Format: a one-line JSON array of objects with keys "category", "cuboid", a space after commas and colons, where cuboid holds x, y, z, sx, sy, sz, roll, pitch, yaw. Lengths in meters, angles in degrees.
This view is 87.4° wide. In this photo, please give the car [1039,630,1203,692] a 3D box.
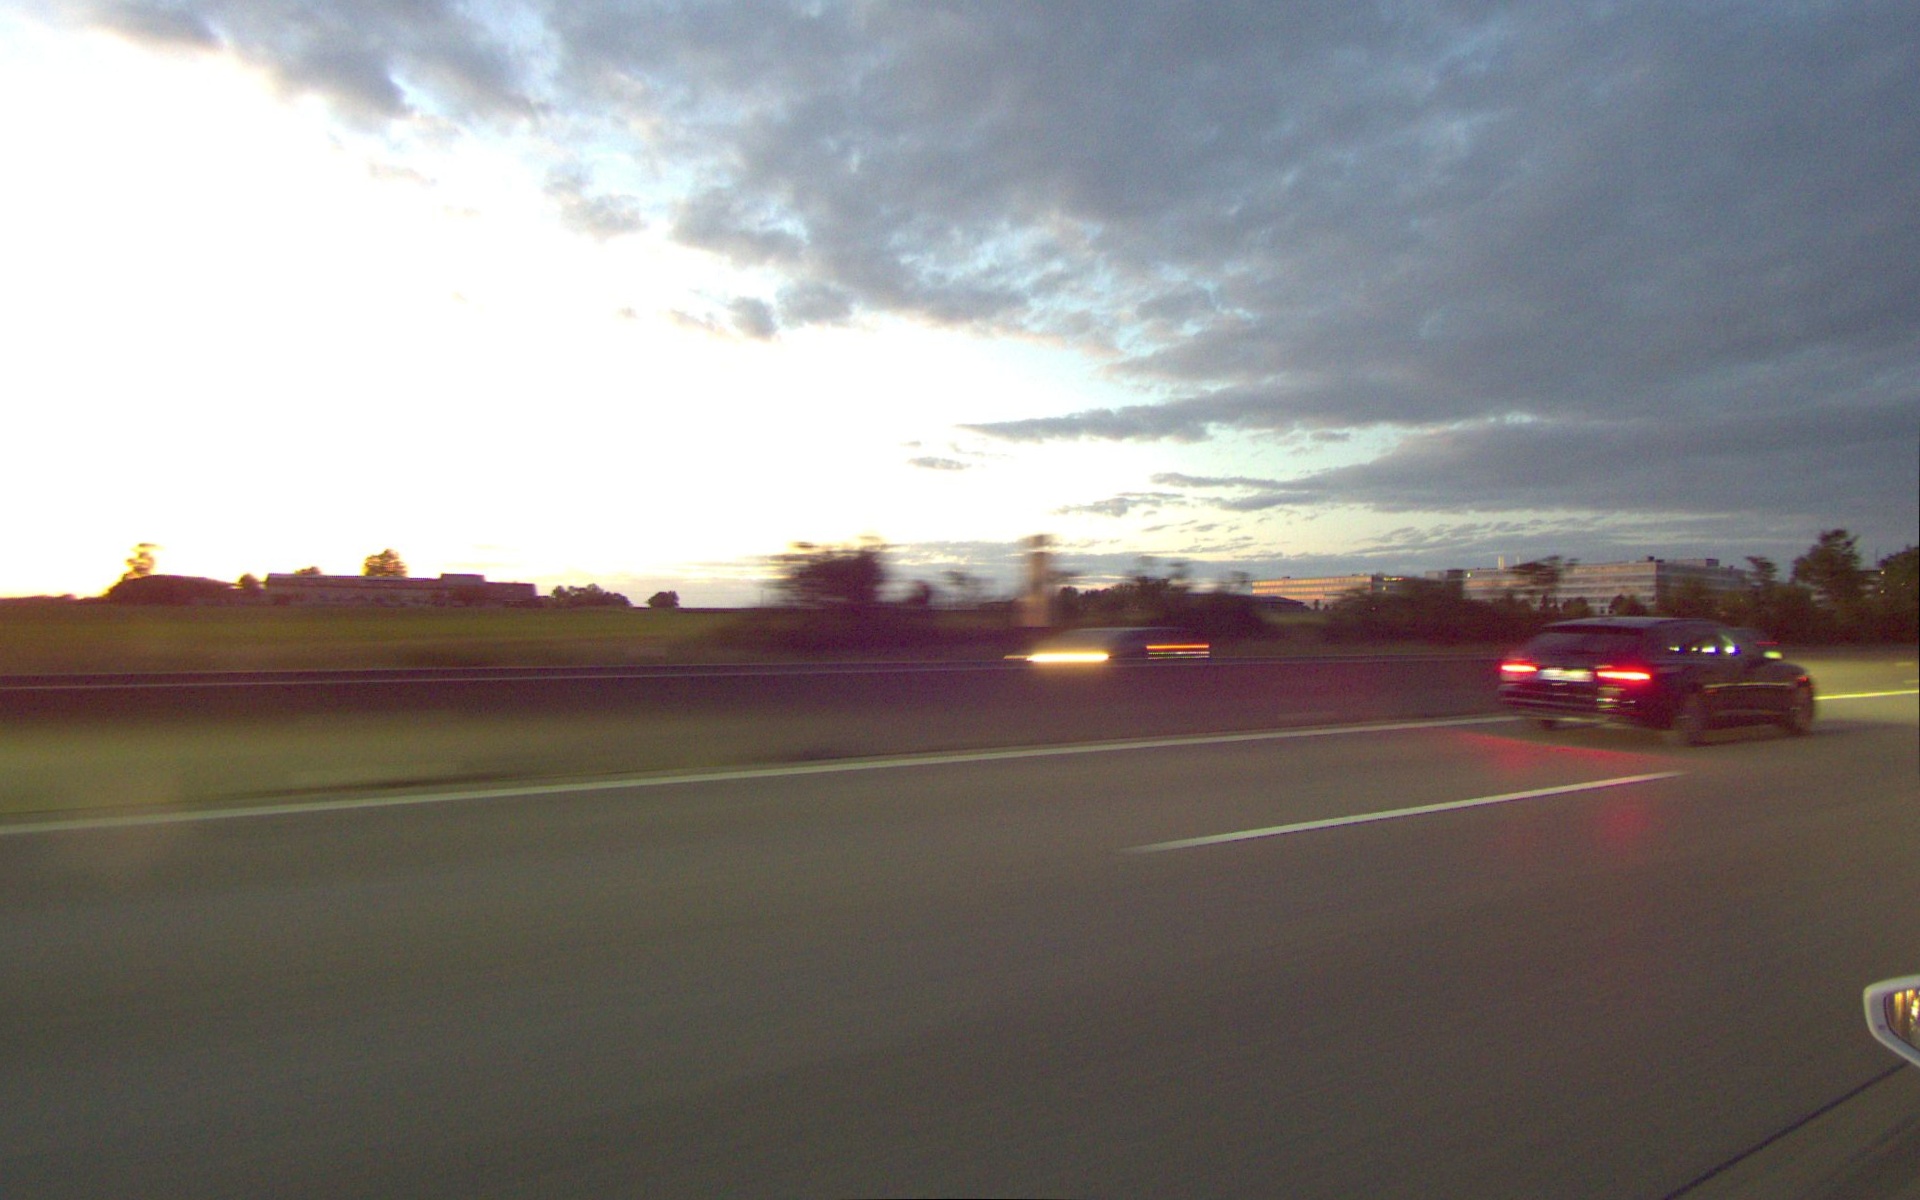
[{"category": "car", "cuboid": [4.569, 1.694, 28.278, 4.468, 1.556, 1.735, 2, 0, -31]}]

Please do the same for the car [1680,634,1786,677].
[{"category": "car", "cuboid": [30.303, 2.165, 39.371, 4.468, 1.518, 1.735, 2, 0, -31]}]

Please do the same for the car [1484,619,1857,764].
[{"category": "car", "cuboid": [9.030, 1.016, 12.614, 5.332, 1.456, 1.805, 1, 0, -31]}]
